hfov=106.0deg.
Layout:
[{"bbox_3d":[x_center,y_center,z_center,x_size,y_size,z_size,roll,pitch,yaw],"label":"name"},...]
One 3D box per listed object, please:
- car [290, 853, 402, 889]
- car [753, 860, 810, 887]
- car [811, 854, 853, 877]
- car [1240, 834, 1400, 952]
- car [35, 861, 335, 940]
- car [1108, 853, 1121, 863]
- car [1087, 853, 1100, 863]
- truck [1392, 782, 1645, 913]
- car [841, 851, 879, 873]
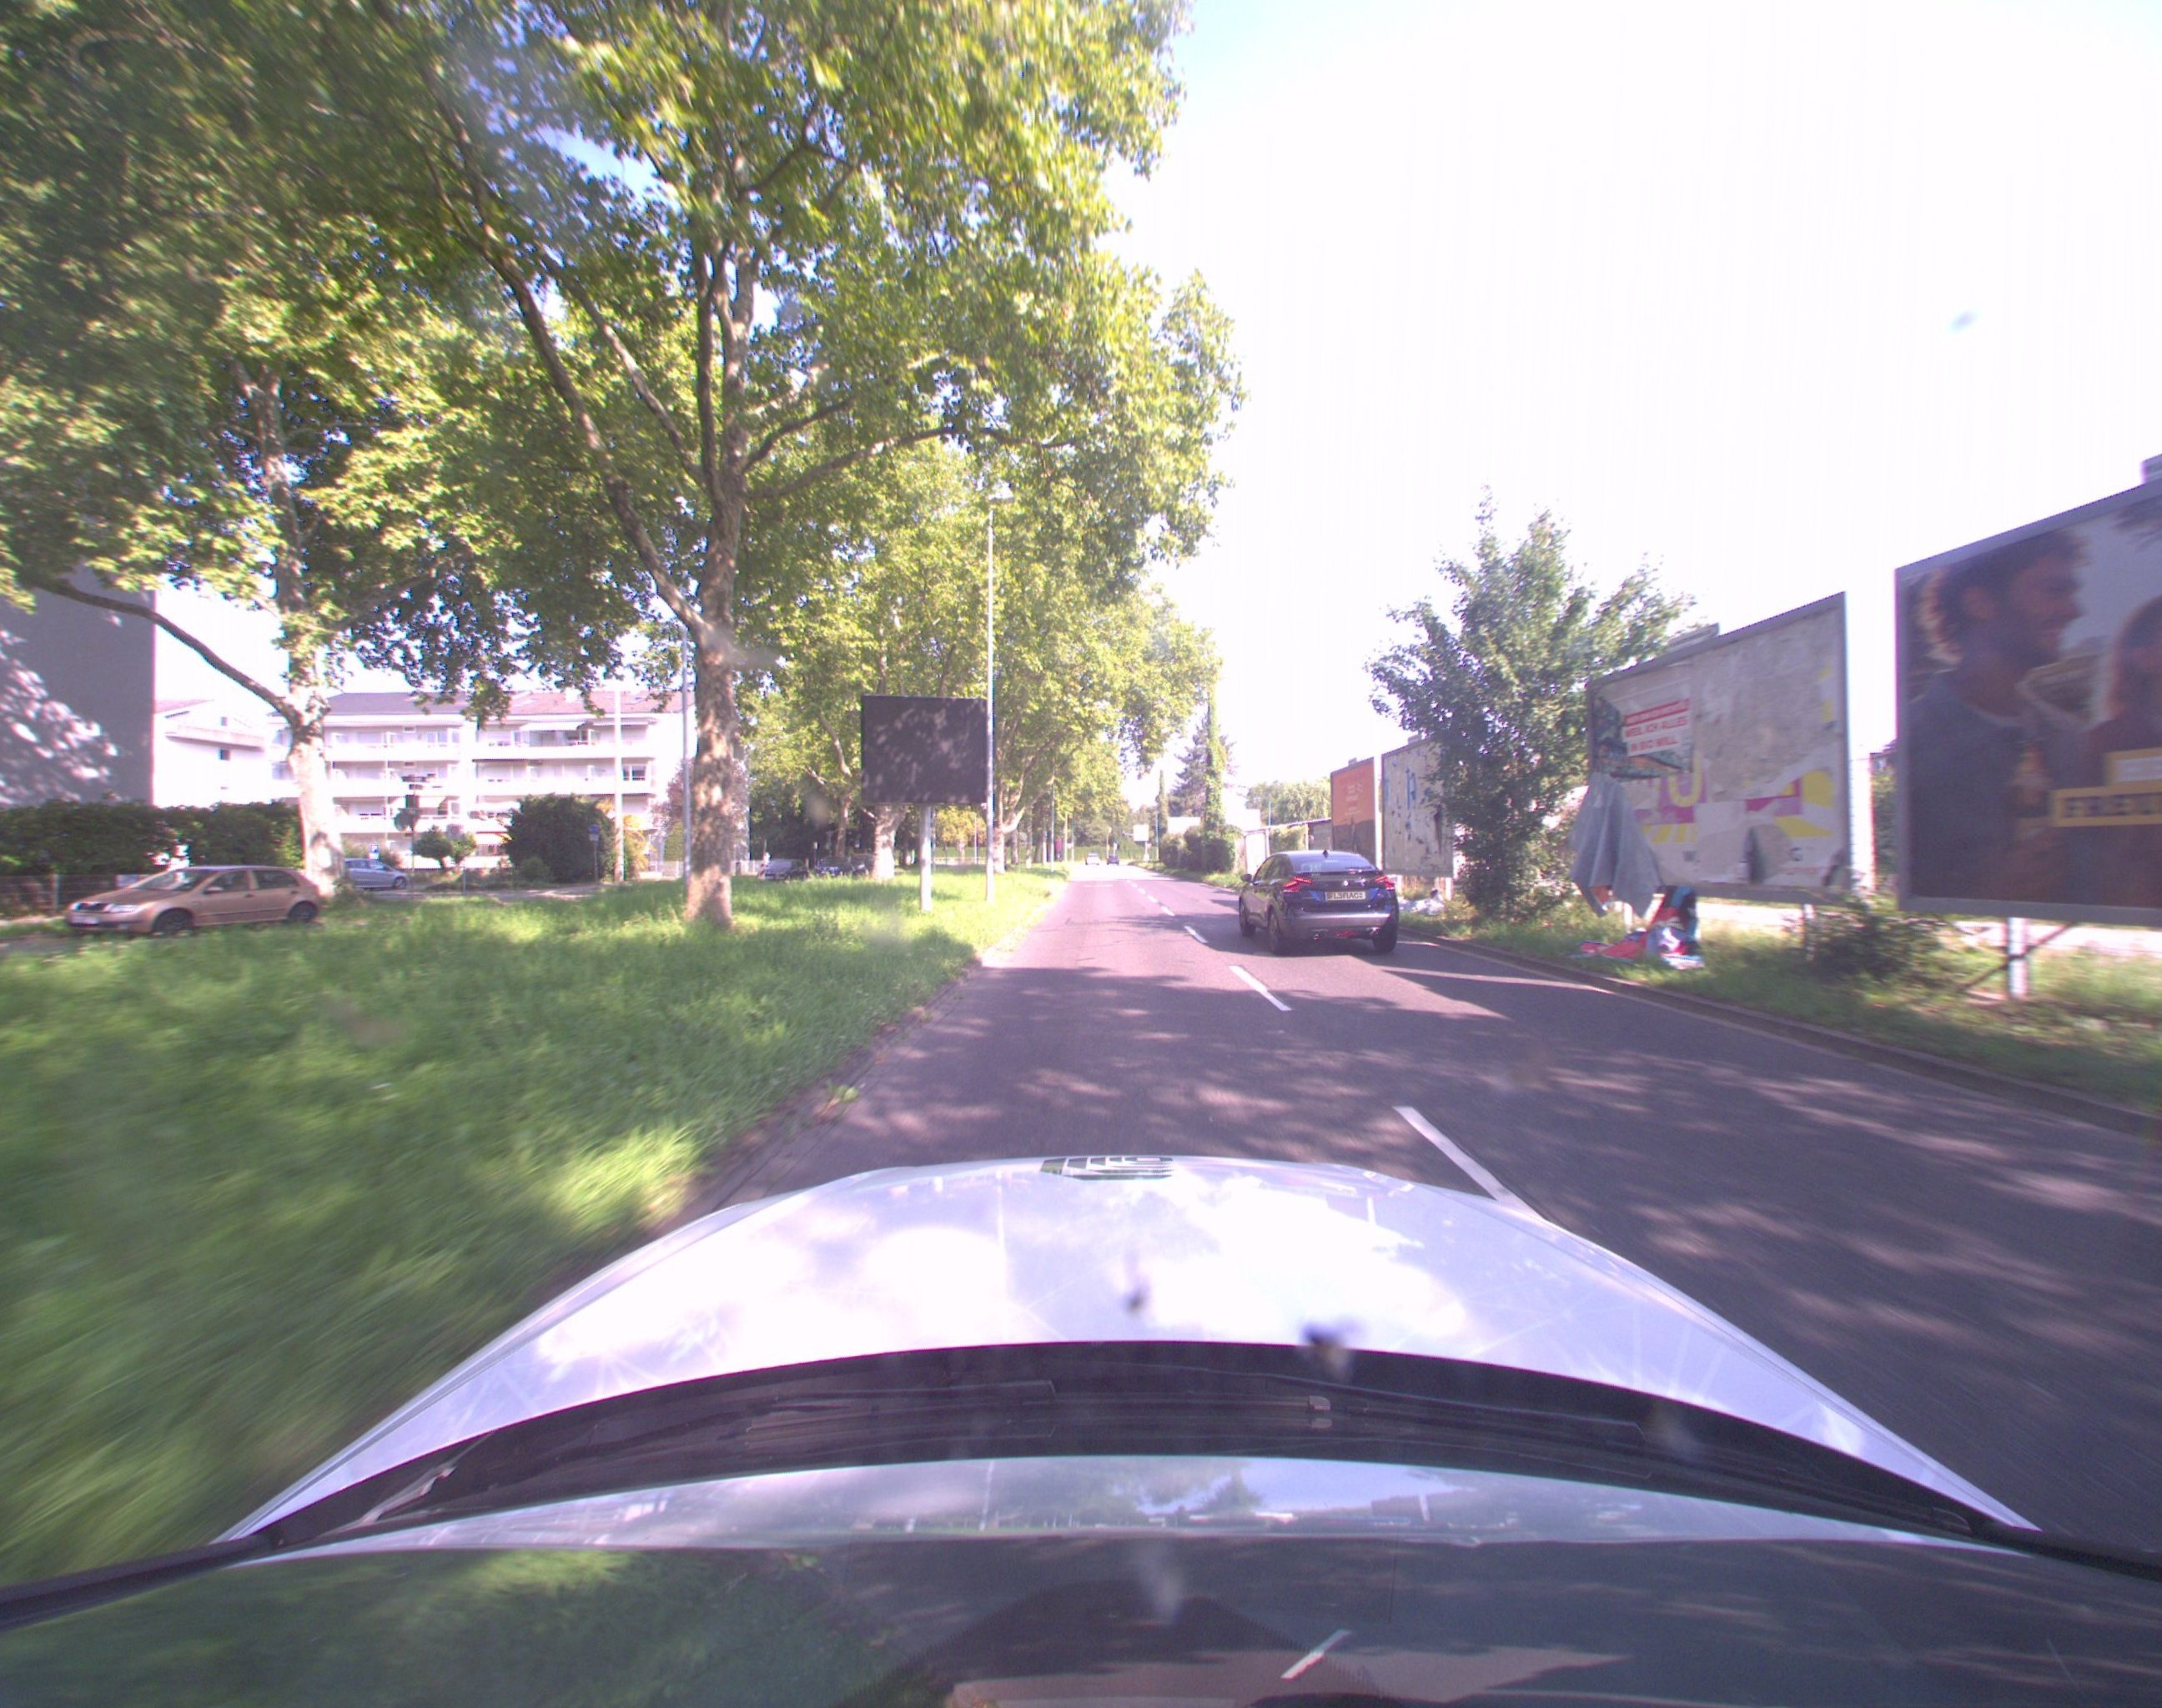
[{"bbox_3d":[-34.860,0.781,38.748,1.600,1.626,3.757,0,-1,8],"label":"car"},{"bbox_3d":[-18.201,1.155,49.704,1.693,1.508,4.541,-1,0,1],"label":"car"},{"bbox_3d":[-17.771,0.819,58.304,1.693,1.568,4.001,-1,0,1],"label":"car"},{"bbox_3d":[3.684,0.553,13.299,1.637,1.588,4.259,-1,-1,4],"label":"car"},{"bbox_3d":[-18.752,0.889,17.380,1.795,1.430,4.067,0,0,3],"label":"car"},{"bbox_3d":[4.896,0.558,120.570,1.792,1.401,3.999,0,-1,0],"label":"car"},{"bbox_3d":[1.710,0.563,111.930,1.681,1.462,4.001,0,-1,2],"label":"car"},{"bbox_3d":[8.760,-0.083,17.321,1.907,2.233,6.916,0,-1,2],"label":"truck"},{"bbox_3d":[-17.905,0.660,66.087,1.693,1.732,4.660,0,-1,1],"label":"car"}]
